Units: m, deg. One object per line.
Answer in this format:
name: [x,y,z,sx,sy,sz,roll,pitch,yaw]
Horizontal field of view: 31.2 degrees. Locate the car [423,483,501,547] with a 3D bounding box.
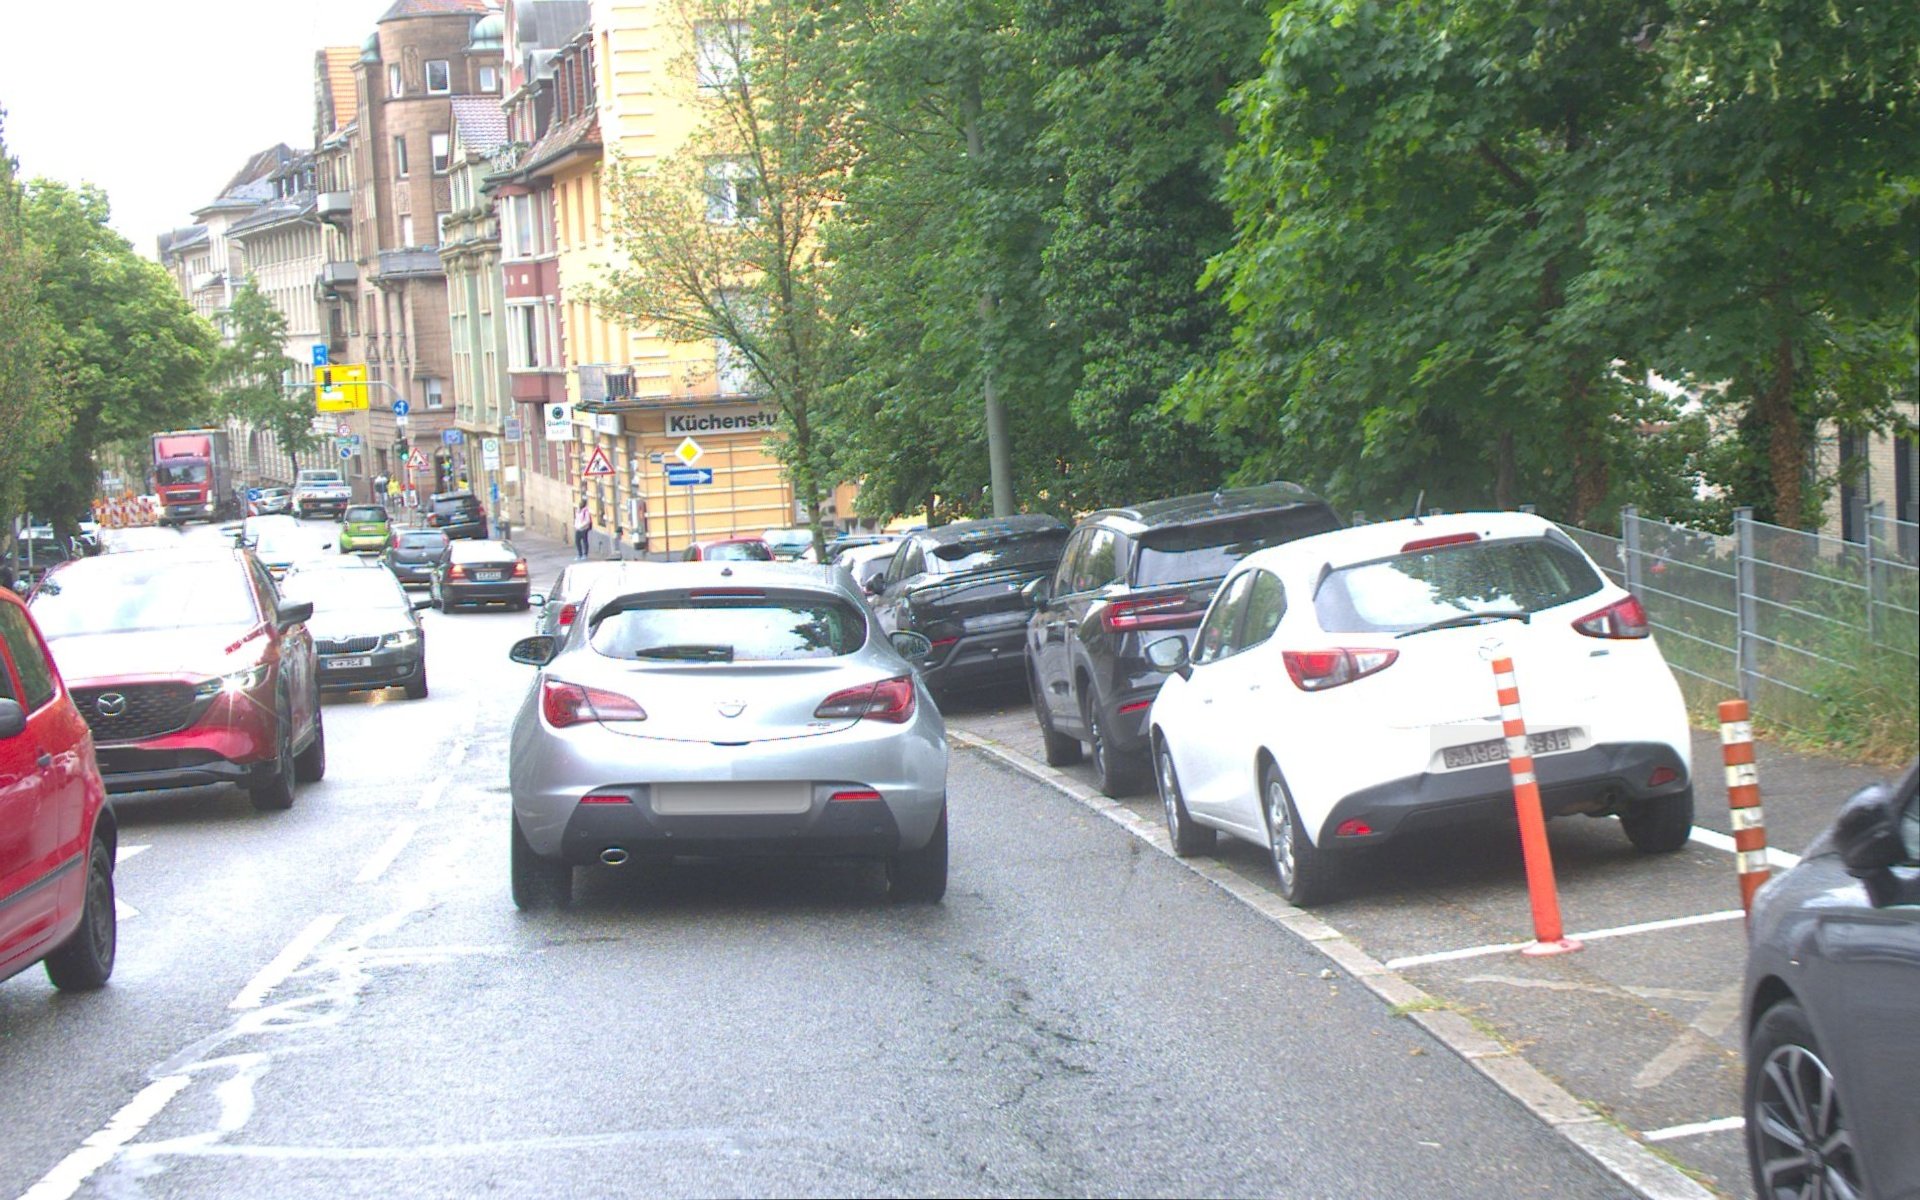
car: [-15.390,-2.613,106.140,1.993,1.683,4.001,-8,2,-11]

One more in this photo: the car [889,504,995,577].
car: [-0.362,-1.322,75.162,1.776,1.424,3.785,-1,3,8]

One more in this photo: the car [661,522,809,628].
car: [-3.703,-0.396,56.046,1.814,1.462,4.001,-7,1,-10]

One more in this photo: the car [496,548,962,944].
car: [-1.138,0.547,15.702,1.814,1.425,4.001,-2,2,-6]

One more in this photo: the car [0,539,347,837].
car: [-5.124,0.481,22.027,1.845,1.578,4.280,-5,2,-5]

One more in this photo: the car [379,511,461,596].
car: [-12.754,-1.116,81.075,1.639,1.683,3.719,-2,5,-12]

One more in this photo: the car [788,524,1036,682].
car: [-0.585,0.024,37.139,1.975,1.447,4.115,-5,1,-9]

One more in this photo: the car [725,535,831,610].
car: [-3.848,-0.596,73.400,1.776,1.425,3.786,-1,3,4]

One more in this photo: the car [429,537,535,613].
car: [-9.388,-0.508,67.289,1.767,1.410,3.718,-1,1,-12]

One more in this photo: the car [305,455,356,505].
car: [-25.157,-4.779,137.322,1.781,1.848,4.001,-2,0,-12]

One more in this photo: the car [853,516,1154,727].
car: [0.301,0.172,31.002,1.975,1.603,4.486,-5,1,-7]

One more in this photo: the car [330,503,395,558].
car: [-17.726,-2.053,101.886,1.639,1.531,3.718,-3,1,-13]

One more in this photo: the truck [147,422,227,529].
truck: [-32.144,-5.262,142.752,2.788,4.117,10.857,-3,4,-14]

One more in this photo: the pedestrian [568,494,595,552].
pedestrian: [-9.896,-2.014,89.869,0.613,1.491,0.553,-2,4,-9]

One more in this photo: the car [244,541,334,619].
car: [-15.734,-0.496,80.783,1.822,1.645,4.001,-4,2,-9]

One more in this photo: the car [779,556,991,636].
car: [-1.466,-0.075,66.252,3.772,1.425,1.782,2,-1,-13]

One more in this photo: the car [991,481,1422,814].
car: [1.373,0.208,21.136,1.821,1.677,4.804,-5,1,-4]

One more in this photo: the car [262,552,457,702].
car: [-6.587,0.250,38.084,1.737,1.468,4.282,-3,1,-6]

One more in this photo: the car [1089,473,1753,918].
car: [1.875,0.367,15.326,1.815,1.490,4.001,-8,1,-7]

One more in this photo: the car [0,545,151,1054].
car: [-3.824,0.638,10.928,1.654,1.563,4.001,-2,1,-2]

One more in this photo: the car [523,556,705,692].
car: [-3.933,0.238,38.648,1.775,1.425,3.786,-1,1,-9]

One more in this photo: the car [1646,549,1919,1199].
car: [2.398,0.590,5.235,1.649,1.400,3.813,-6,1,-3]
